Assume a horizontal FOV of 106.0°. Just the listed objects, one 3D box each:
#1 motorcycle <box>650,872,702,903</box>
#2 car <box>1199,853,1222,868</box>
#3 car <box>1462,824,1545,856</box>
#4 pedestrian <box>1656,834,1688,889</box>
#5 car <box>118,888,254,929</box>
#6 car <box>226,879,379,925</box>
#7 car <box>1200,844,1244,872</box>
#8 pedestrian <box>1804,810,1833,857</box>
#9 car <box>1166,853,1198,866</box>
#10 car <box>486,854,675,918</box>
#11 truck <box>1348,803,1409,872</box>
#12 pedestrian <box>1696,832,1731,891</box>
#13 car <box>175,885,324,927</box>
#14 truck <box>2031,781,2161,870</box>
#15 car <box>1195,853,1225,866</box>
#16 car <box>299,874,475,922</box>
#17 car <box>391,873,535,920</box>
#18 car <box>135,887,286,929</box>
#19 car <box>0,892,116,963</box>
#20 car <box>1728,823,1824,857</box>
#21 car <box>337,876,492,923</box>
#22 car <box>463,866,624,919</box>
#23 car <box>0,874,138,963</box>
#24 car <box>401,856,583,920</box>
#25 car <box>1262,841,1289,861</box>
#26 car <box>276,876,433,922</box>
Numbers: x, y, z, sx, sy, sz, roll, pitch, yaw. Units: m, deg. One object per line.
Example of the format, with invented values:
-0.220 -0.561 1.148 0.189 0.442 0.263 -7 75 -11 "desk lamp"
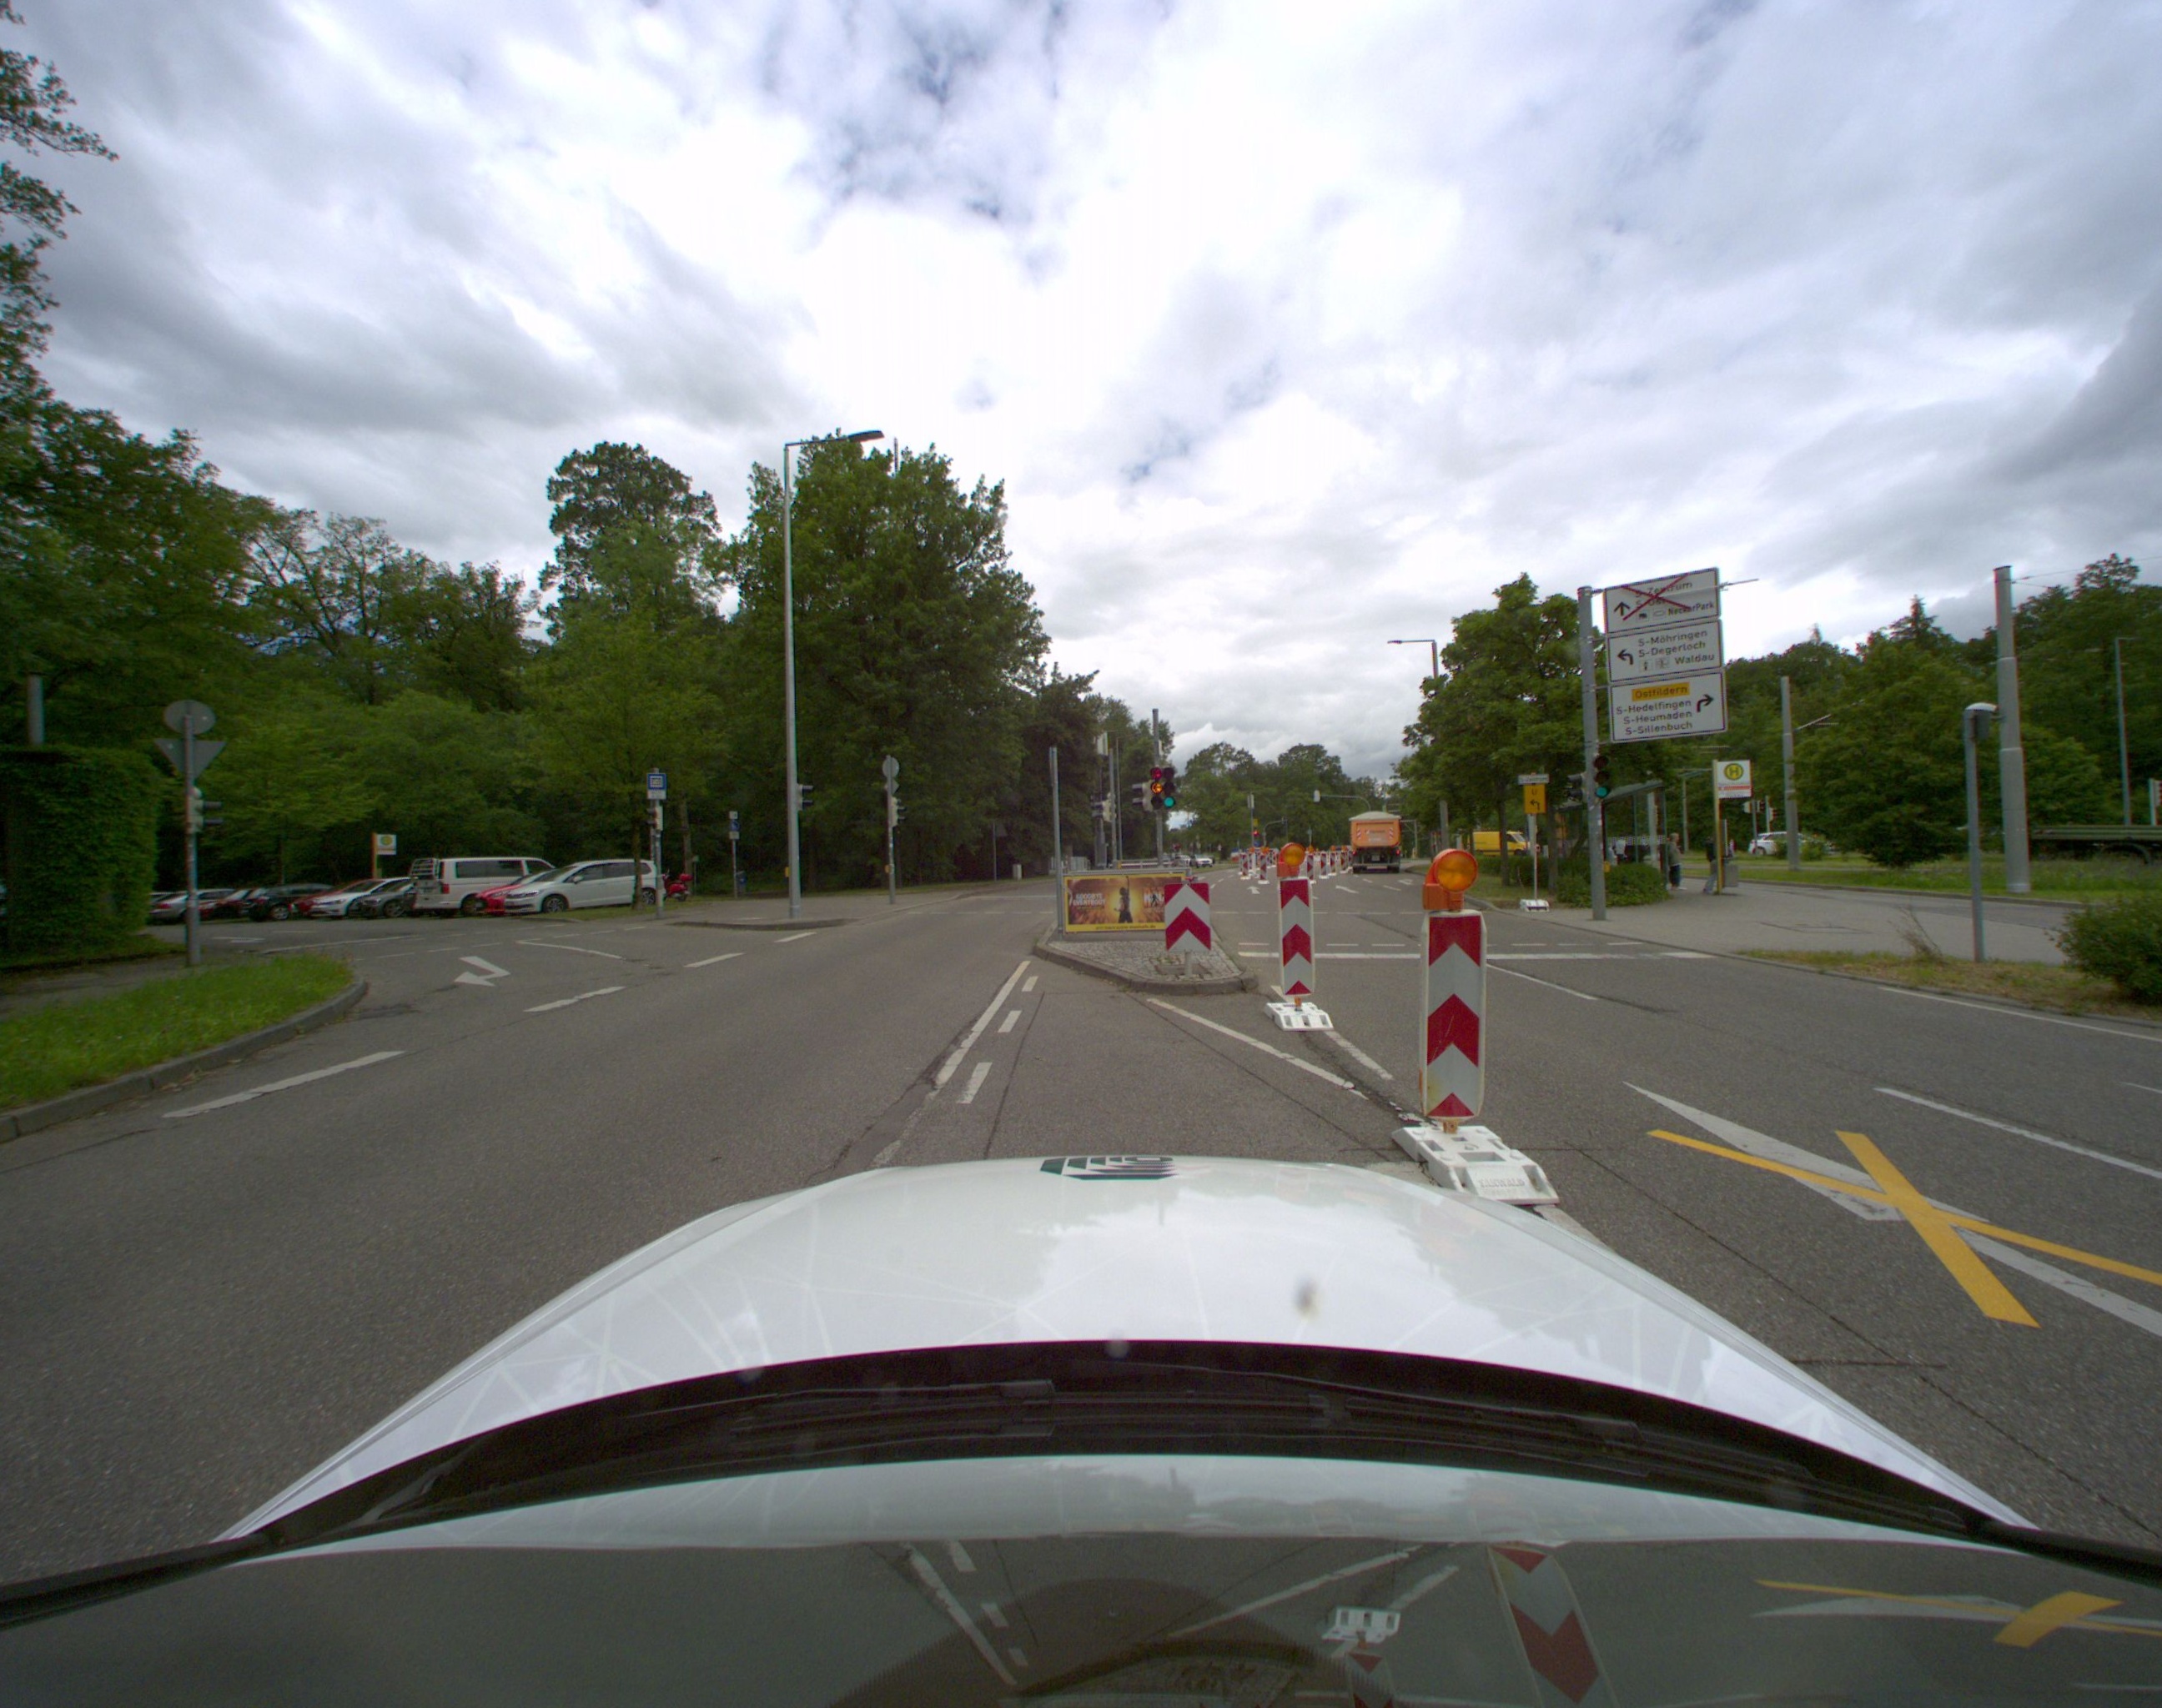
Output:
-16.365 1.344 32.893 1.988 1.160 0.680 -2 0 21 "motorcycle"
15.600 0.751 98.003 1.977 1.750 4.601 -1 -1 20 "car"
35.707 -1.142 69.027 2.006 2.494 6.089 0 -1 -30 "car"
16.442 0.210 22.653 0.520 1.516 0.479 0 -1 -2 "pedestrian"
-40.837 2.450 37.251 1.731 1.510 3.733 -4 0 20 "car"
-31.686 1.935 33.291 1.898 1.483 4.023 -3 0 24 "car"
9.292 0.261 53.433 1.976 1.717 4.022 -1 -1 23 "car"
36.488 -0.984 40.308 0.616 2.295 0.858 0 -1 -13 "pedestrian"
13.919 0.760 112.428 2.010 1.882 3.953 0 -1 -41 "car"
-15.756 0.966 25.887 2.137 1.693 4.564 -4 0 33 "car"
17.048 -0.930 46.317 2.834 3.514 8.293 -2 0 22 "truck"
16.334 0.198 21.038 0.520 1.516 0.479 0 -1 -2 "pedestrian"
-36.148 2.222 35.542 1.918 1.449 4.020 -3 0 20 "car"
30.211 -0.773 21.326 2.407 2.352 6.499 0 -1 -20 "truck"
18.553 0.764 117.058 2.010 1.882 3.953 0 -1 -41 "car"
-26.749 1.672 31.609 1.829 1.476 4.817 -2 0 27 "car"
-22.465 1.488 29.736 1.823 1.555 3.756 -1 -1 26 "car"
-38.676 2.364 36.315 1.843 1.461 4.163 -4 0 22 "car"
-23.799 1.647 17.244 1.701 1.379 4.025 -3 0 28 "car"
44.859 -0.862 52.677 2.006 2.014 4.285 0 -1 -30 "car"
-24.739 1.644 30.404 1.854 1.483 4.023 -4 -2 26 "car"
-17.831 1.230 27.178 1.921 1.555 4.036 -2 -1 34 "car"
-26.072 1.614 18.873 1.953 1.915 5.134 -3 1 28 "car"
-20.324 1.102 28.340 2.057 2.021 4.691 -1 -1 27 "car"
17.475 -0.219 73.157 1.780 1.738 3.723 -1 -1 23 "car"
-29.128 1.771 32.815 1.896 1.480 4.267 -4 0 24 "car"
